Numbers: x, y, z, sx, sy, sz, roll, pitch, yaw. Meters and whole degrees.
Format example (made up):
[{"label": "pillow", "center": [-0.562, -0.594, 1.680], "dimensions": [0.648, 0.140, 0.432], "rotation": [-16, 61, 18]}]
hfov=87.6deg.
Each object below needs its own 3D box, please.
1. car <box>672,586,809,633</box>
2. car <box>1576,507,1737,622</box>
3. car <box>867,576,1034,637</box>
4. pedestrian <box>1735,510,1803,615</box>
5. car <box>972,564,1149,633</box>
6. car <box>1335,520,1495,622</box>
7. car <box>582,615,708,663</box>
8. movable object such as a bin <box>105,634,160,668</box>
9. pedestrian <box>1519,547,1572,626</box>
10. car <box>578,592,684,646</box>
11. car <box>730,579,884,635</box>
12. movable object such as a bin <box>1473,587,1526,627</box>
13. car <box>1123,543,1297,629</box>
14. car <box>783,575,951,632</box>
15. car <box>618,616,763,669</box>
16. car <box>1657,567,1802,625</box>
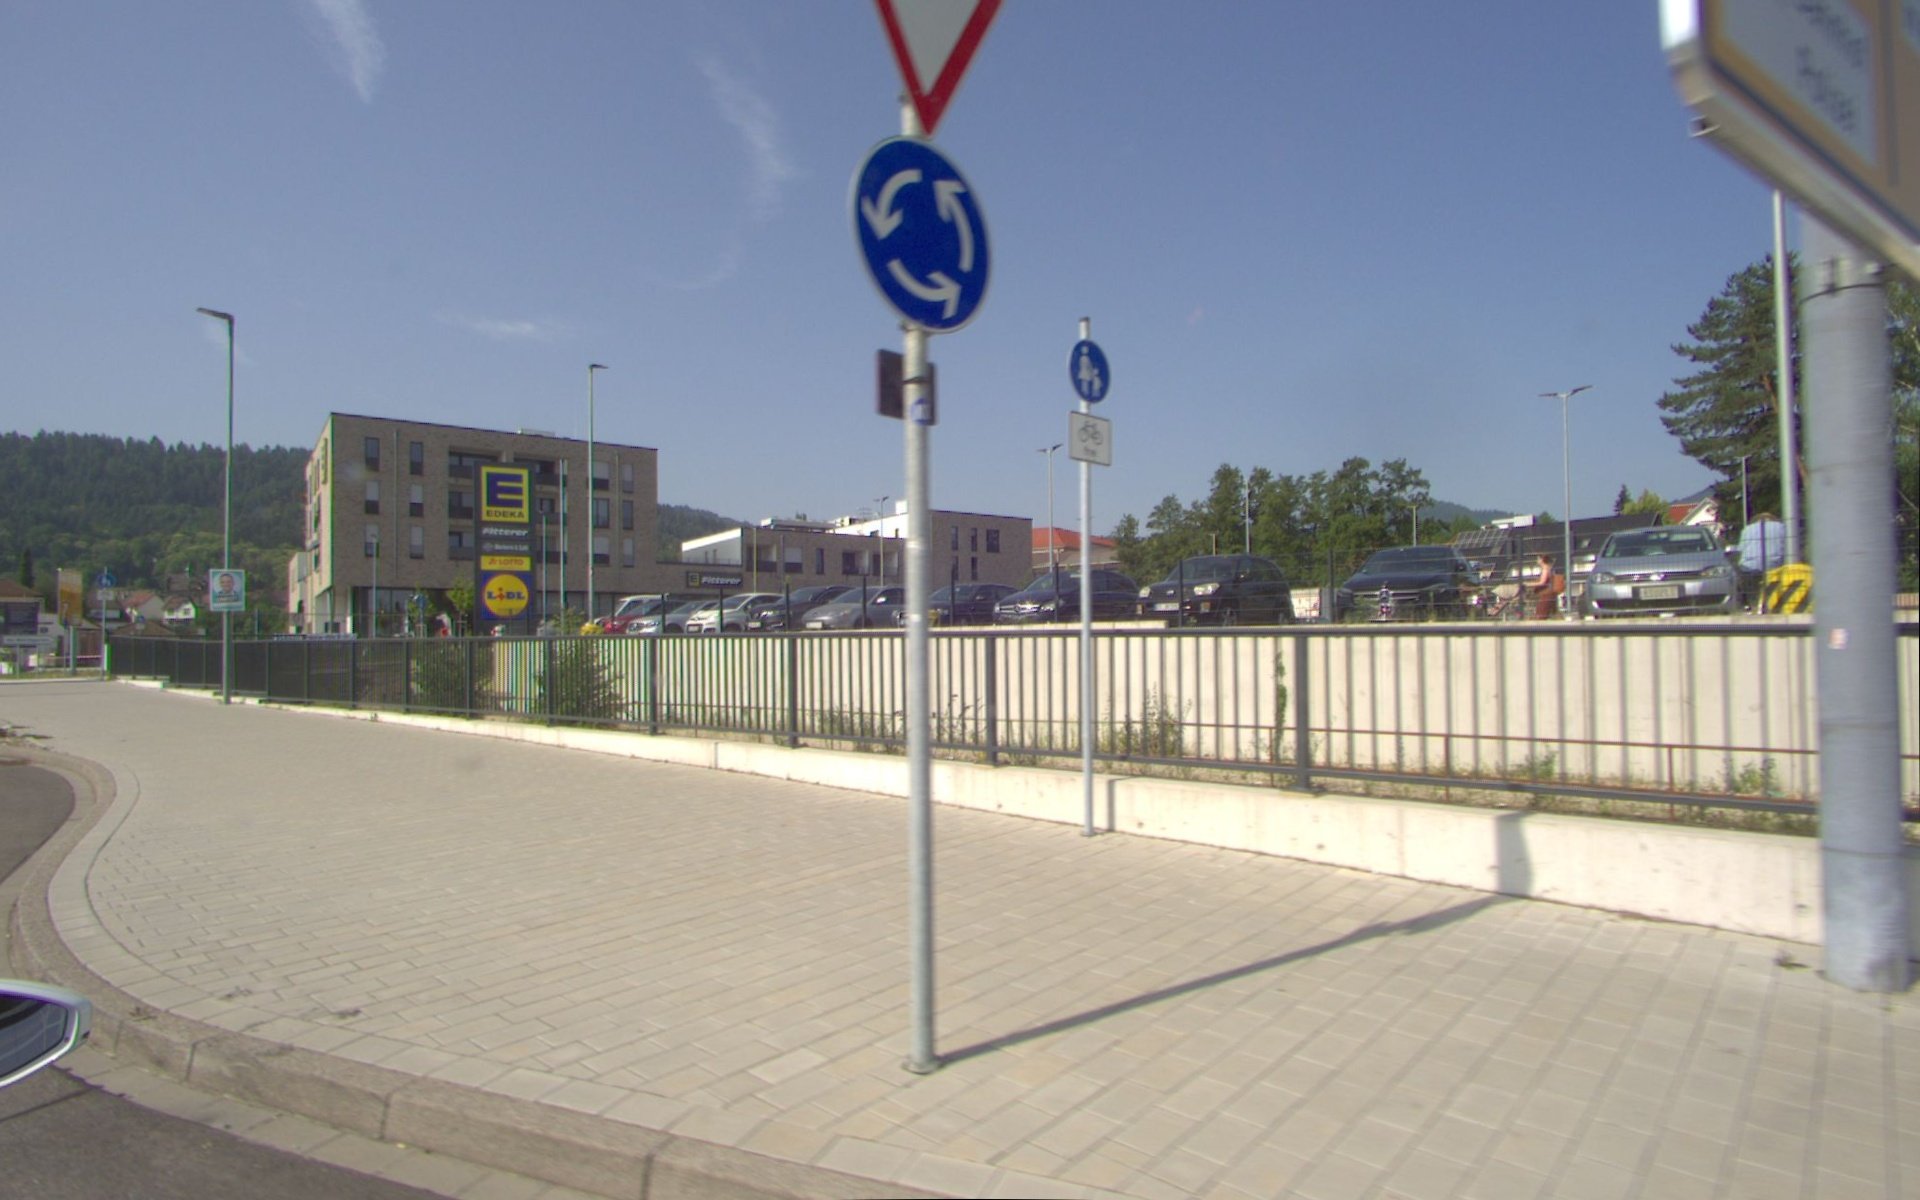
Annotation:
[{"label": "car", "center": [-6.211, 0.321, 28.596], "dimensions": [1.694, 1.214, 3.541], "rotation": [-2, -3, 39]}, {"label": "car", "center": [10.269, -0.407, 14.654], "dimensions": [1.660, 1.381, 3.791], "rotation": [-2, -3, 39]}, {"label": "car", "center": [-0.138, 0.220, 22.892], "dimensions": [1.709, 1.261, 3.951], "rotation": [-2, -3, 39]}, {"label": "pedestrian", "center": [10.820, -0.481, 13.393], "dimensions": [0.649, 1.328, 0.544], "rotation": [-3, -2, 42]}, {"label": "car", "center": [2.211, 0.041, 21.081], "dimensions": [1.723, 1.261, 4.197], "rotation": [-2, -3, 39]}, {"label": "car", "center": [7.644, -0.384, 16.635], "dimensions": [1.468, 1.422, 4.046], "rotation": [-2, -3, 39]}, {"label": "car", "center": [-10.052, 1.256, 32.151], "dimensions": [1.690, 1.448, 3.541], "rotation": [-2, -3, 39]}, {"label": "movable object such as a bin", "center": [-47.667, 2.939, 57.694], "dimensions": [2.425, 1.867, 1.416], "rotation": [0, -3, -42]}, {"label": "pedestrian", "center": [11.104, -0.244, 18.989], "dimensions": [0.764, 1.444, 0.546], "rotation": [-3, -2, 37]}, {"label": "car", "center": [-13.922, 0.799, 42.428], "dimensions": [3.942, 2.162, 1.991], "rotation": [0, -2, -30]}, {"label": "car", "center": [-4.004, 0.237, 26.670], "dimensions": [1.640, 1.359, 4.020], "rotation": [-2, -3, 39]}, {"label": "movable object such as a bin", "center": [10.483, 0.144, 19.457], "dimensions": [0.827, 0.732, 0.481], "rotation": [-3, -2, 36]}, {"label": "car", "center": [4.853, -0.182, 19.083], "dimensions": [1.704, 1.422, 3.990], "rotation": [-2, -3, 39]}, {"label": "car", "center": [-2.207, 0.148, 24.671], "dimensions": [1.644, 1.261, 4.262], "rotation": [-2, -3, 39]}, {"label": "car", "center": [-8.144, 1.296, 30.564], "dimensions": [1.698, 1.506, 4.037], "rotation": [-2, -3, 42]}, {"label": "car", "center": [24.970, -0.084, 32.537], "dimensions": [3.589, 1.650, 1.589], "rotation": [-4, -3, 42]}]
